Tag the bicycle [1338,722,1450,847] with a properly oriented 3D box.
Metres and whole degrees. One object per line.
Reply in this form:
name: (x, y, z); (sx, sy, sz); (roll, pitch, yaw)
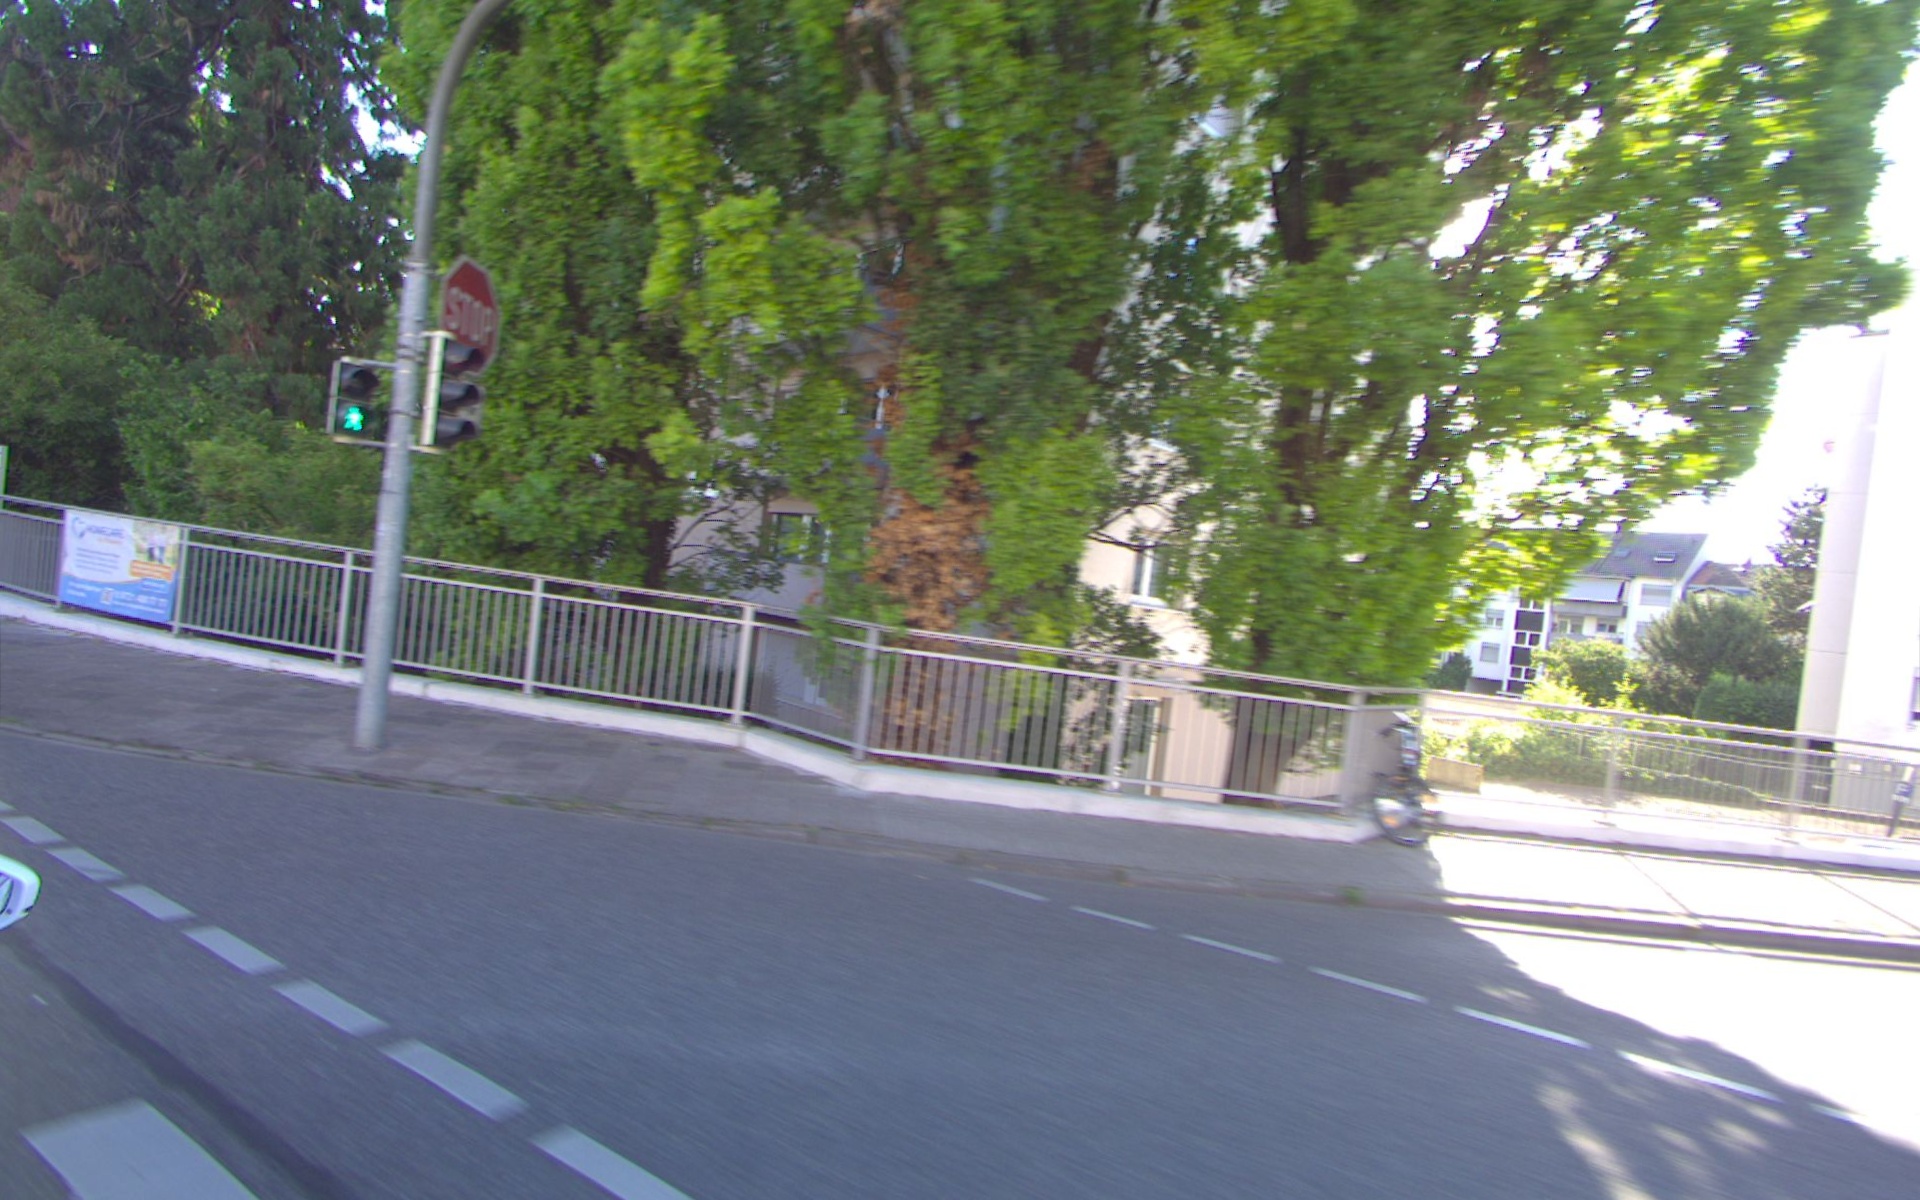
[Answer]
bicycle: (4.038, 1.693, 9.442); (0.402, 0.914, 1.289); (8, -1, 2)
